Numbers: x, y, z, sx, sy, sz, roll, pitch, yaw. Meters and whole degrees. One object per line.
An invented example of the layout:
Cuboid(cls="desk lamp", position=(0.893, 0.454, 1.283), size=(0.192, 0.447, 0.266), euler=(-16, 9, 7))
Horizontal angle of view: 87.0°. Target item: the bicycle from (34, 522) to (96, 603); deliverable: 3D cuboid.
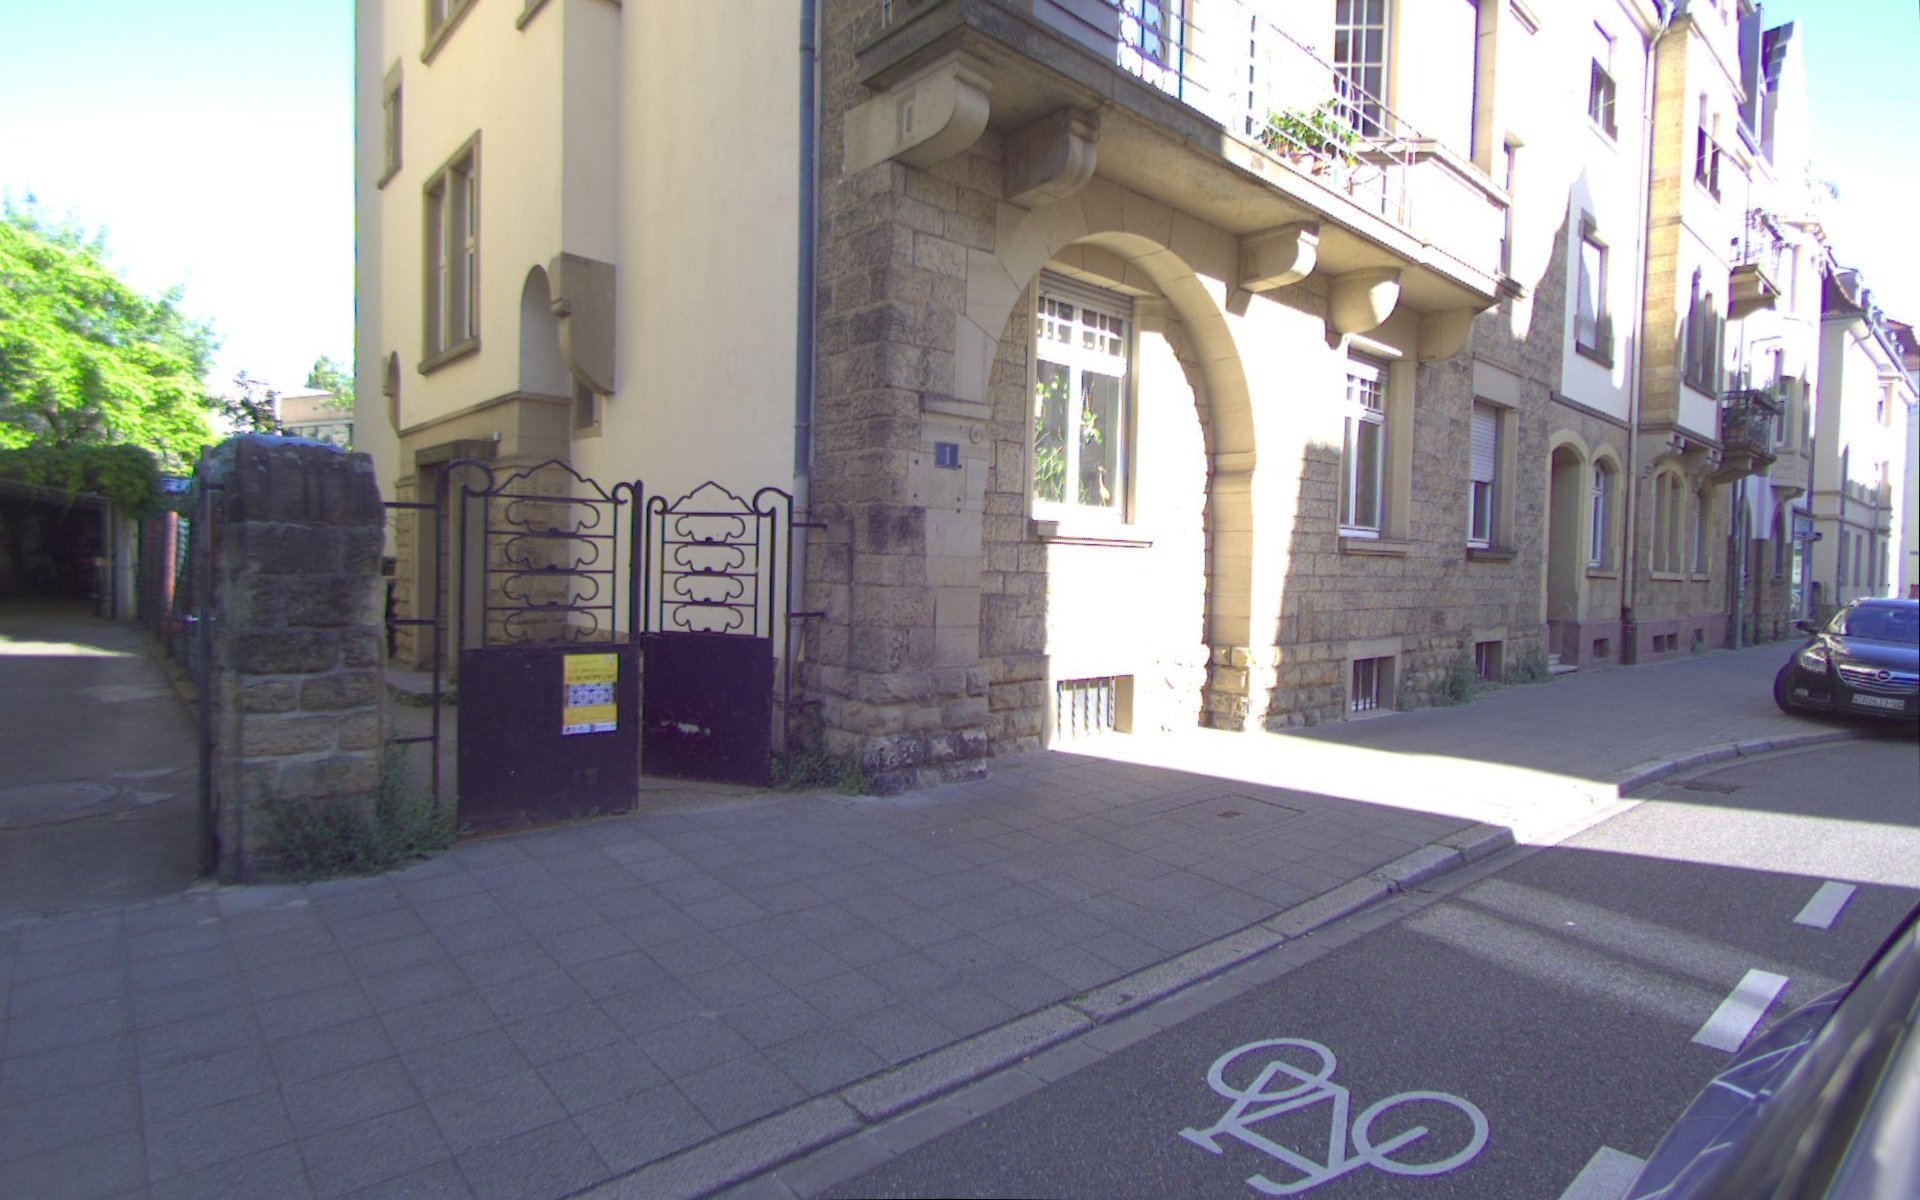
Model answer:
Cuboid(cls="bicycle", position=(-18.298, -0.807, 20.728), size=(0.903, 1.530, 2.672), euler=(0, 4, -41))

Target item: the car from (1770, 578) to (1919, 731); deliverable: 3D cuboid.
Cuboid(cls="car", position=(11.486, 0.574, 12.170), size=(4.043, 1.526, 2.023), euler=(-1, 5, -42))

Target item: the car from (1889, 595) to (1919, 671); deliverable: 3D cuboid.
Cuboid(cls="car", position=(18.798, 0.623, 18.976), size=(3.667, 1.295, 1.659), euler=(-1, 4, -42))

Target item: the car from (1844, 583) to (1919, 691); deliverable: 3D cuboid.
Cuboid(cls="car", position=(15.535, 0.570, 15.872), size=(4.247, 1.527, 2.004), euler=(0, 3, -42))

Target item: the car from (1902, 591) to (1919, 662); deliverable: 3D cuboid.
Cuboid(cls="car", position=(22.175, 0.586, 22.197), size=(4.247, 1.440, 1.823), euler=(-1, 4, -42))

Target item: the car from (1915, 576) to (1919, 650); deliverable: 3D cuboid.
Cuboid(cls="car", position=(26.237, 0.341, 26.055), size=(4.247, 1.860, 2.004), euler=(-1, 4, -42))
